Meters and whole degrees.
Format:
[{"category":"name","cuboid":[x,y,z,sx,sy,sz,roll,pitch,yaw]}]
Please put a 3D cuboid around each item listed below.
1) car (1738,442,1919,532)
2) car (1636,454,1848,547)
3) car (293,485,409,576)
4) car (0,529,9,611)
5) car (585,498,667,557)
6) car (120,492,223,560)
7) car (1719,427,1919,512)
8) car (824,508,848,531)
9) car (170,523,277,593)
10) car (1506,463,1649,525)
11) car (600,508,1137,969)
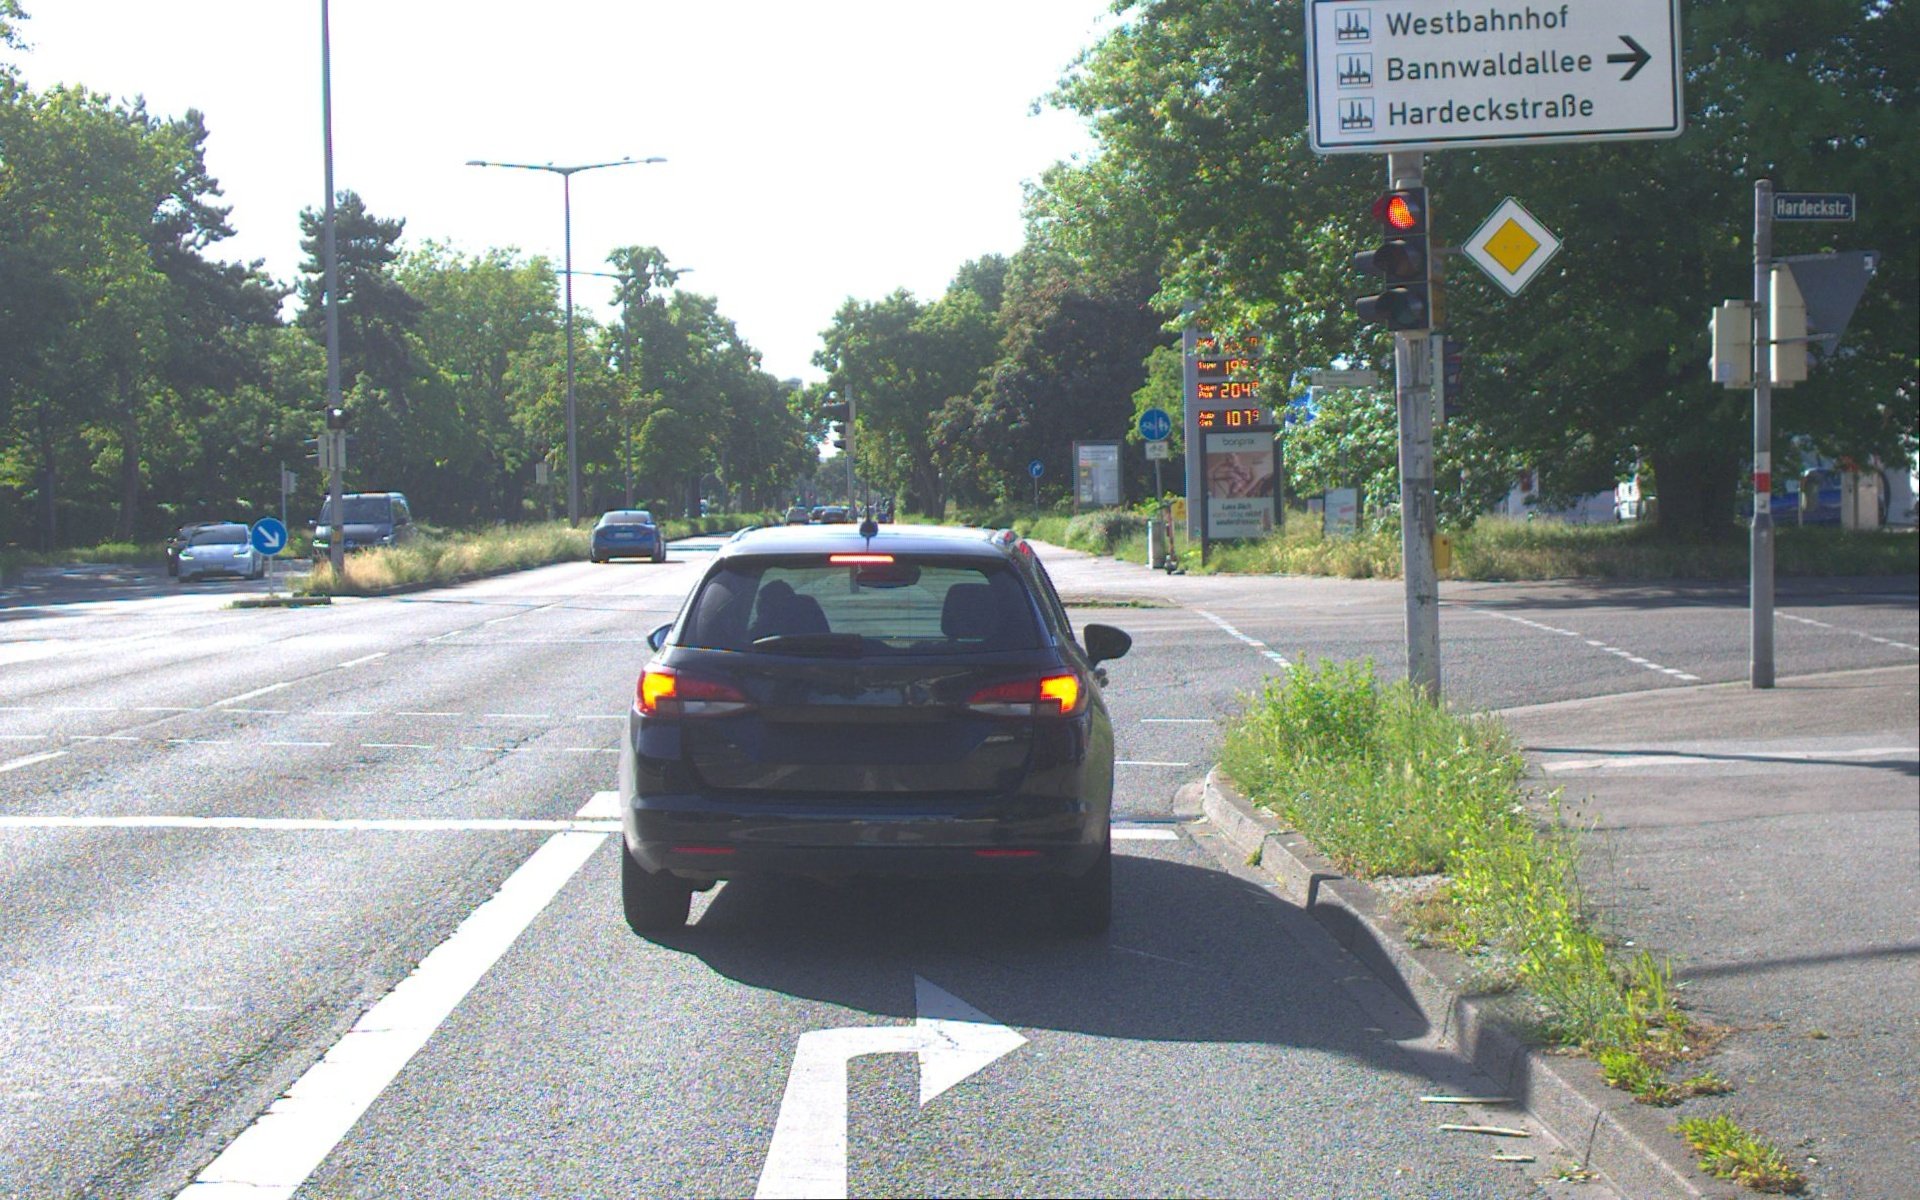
[{"category":"car","cuboid":[16.430,-2.067,63.495,3.836,1.558,1.805,0,1,-33]},{"category":"car","cuboid":[15.014,-1.892,65.982,3.711,1.679,1.704,1,1,-27]},{"category":"car","cuboid":[-14.049,-1.605,79.504,1.993,2.007,4.000,1,1,-1]},{"category":"car","cuboid":[-20.674,-0.603,69.324,1.864,1.678,4.261,1,1,-1]},{"category":"car","cuboid":[-9.150,-1.978,94.402,1.888,1.546,4.000,-1,1,-1]},{"category":"car","cuboid":[-22.803,-2.168,99.597,1.993,1.743,4.001,-4,2,-1]},{"category":"car","cuboid":[17.963,-2.719,71.934,3.711,1.679,1.704,1,1,-3]},{"category":"car","cuboid":[-9.098,-5.891,251.588,1.732,1.579,3.841,1,1,-2]},{"category":"car","cuboid":[-18.521,-1.067,86.554,1.864,1.678,4.000,1,1,-1]},{"category":"car","cuboid":[17.725,-3.028,98.746,3.711,1.679,1.704,1,1,-3]},{"category":"car","cuboid":[-0.337,0.421,13.214,1.755,1.504,3.809,0,1,-1]}]
